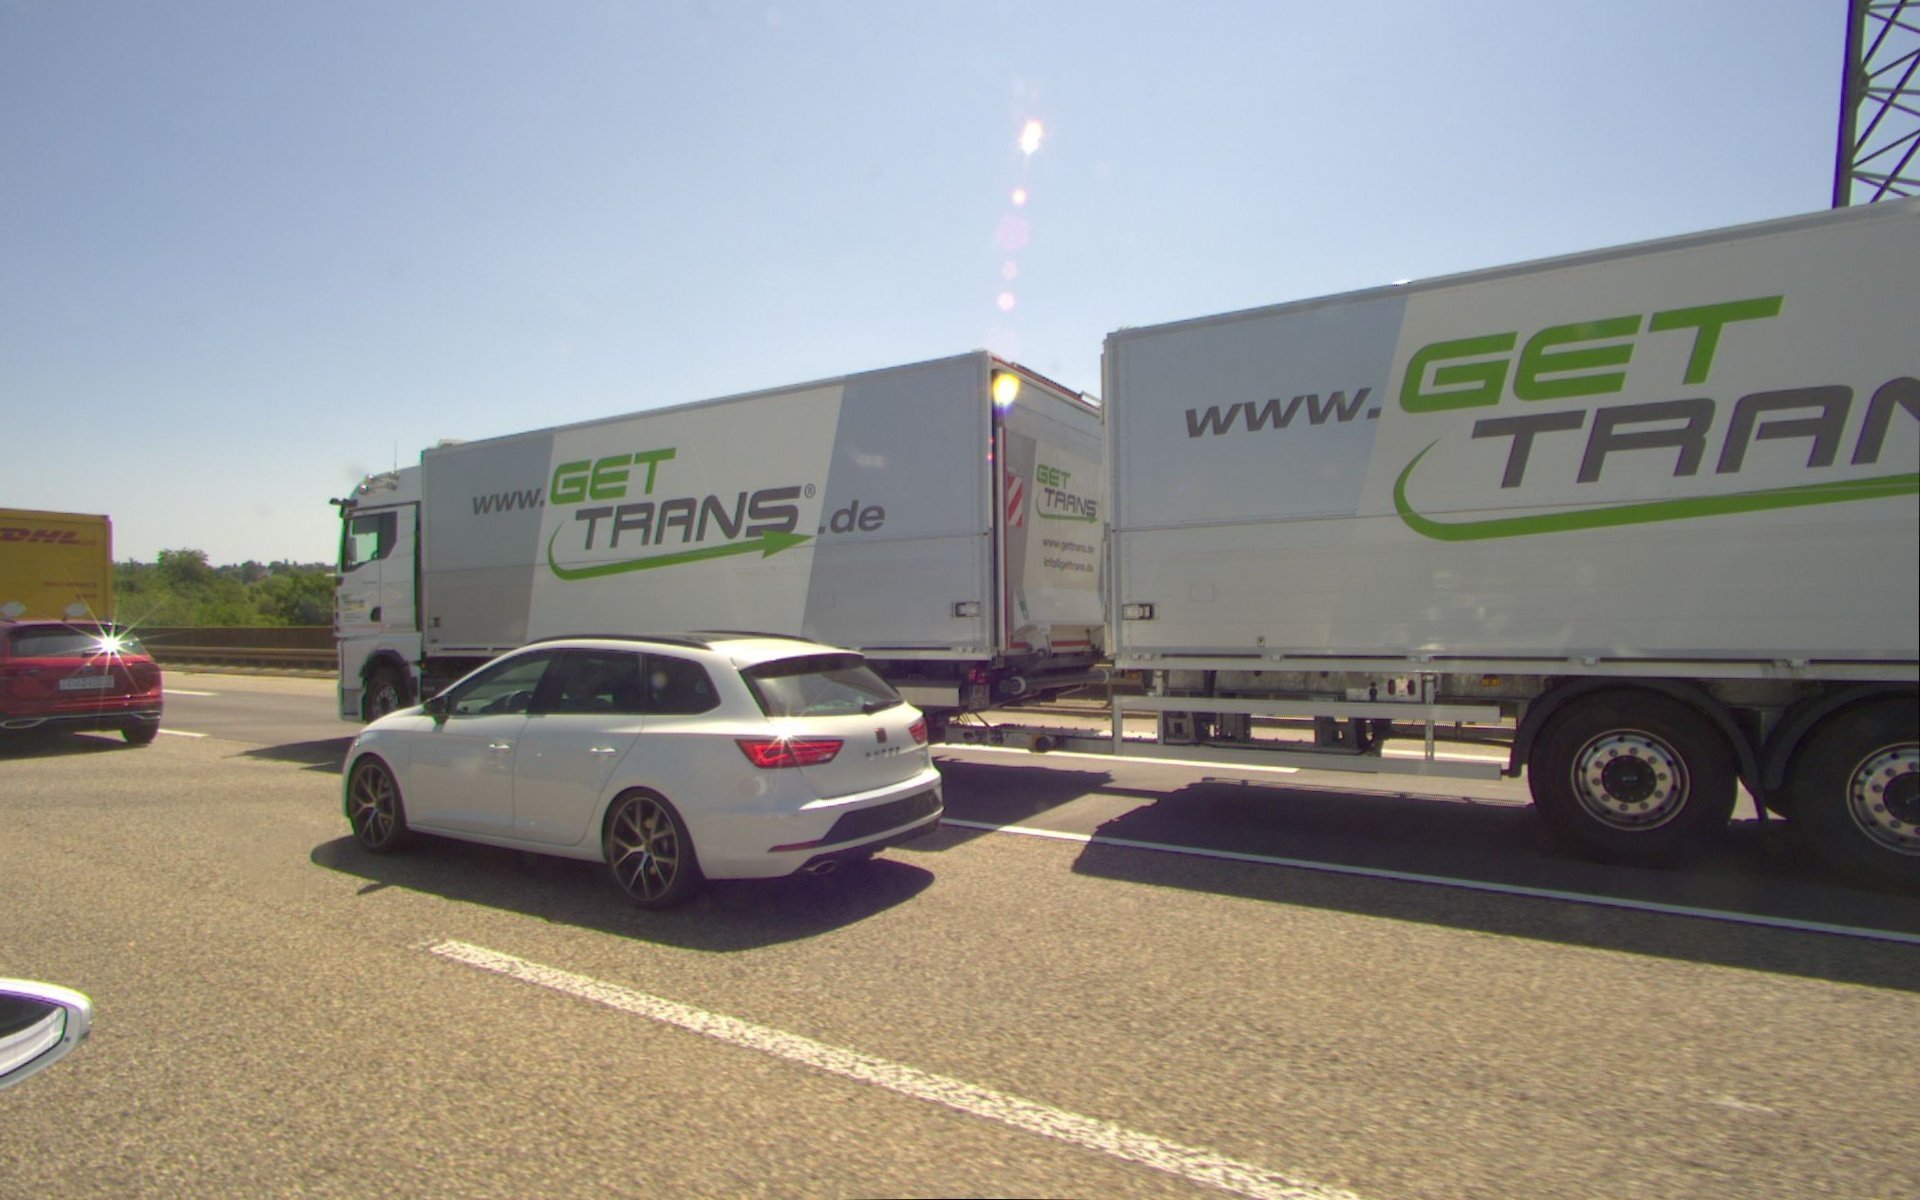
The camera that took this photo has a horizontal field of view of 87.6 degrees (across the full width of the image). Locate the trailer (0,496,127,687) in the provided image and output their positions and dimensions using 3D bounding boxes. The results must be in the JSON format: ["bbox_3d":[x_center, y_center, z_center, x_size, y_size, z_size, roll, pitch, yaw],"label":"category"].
[{"bbox_3d":[-24.143,-0.059,24.738,8.849,4.140,2.679,-1,-2,31],"label":"trailer"}]

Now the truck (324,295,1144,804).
[{"bbox_3d":[-3.297,-0.246,11.814,10.457,3.984,2.847,-1,-2,32],"label":"truck"}]

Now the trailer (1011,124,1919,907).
[{"bbox_3d":[4.585,-0.367,6.893,8.096,3.941,2.894,-1,-2,32],"label":"trailer"}]

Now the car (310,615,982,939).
[{"bbox_3d":[-2.163,0.849,6.457,4.364,1.470,1.706,0,-1,32],"label":"car"}]

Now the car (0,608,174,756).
[{"bbox_3d":[-12.343,0.962,13.243,4.222,1.701,1.705,0,0,31],"label":"car"}]
